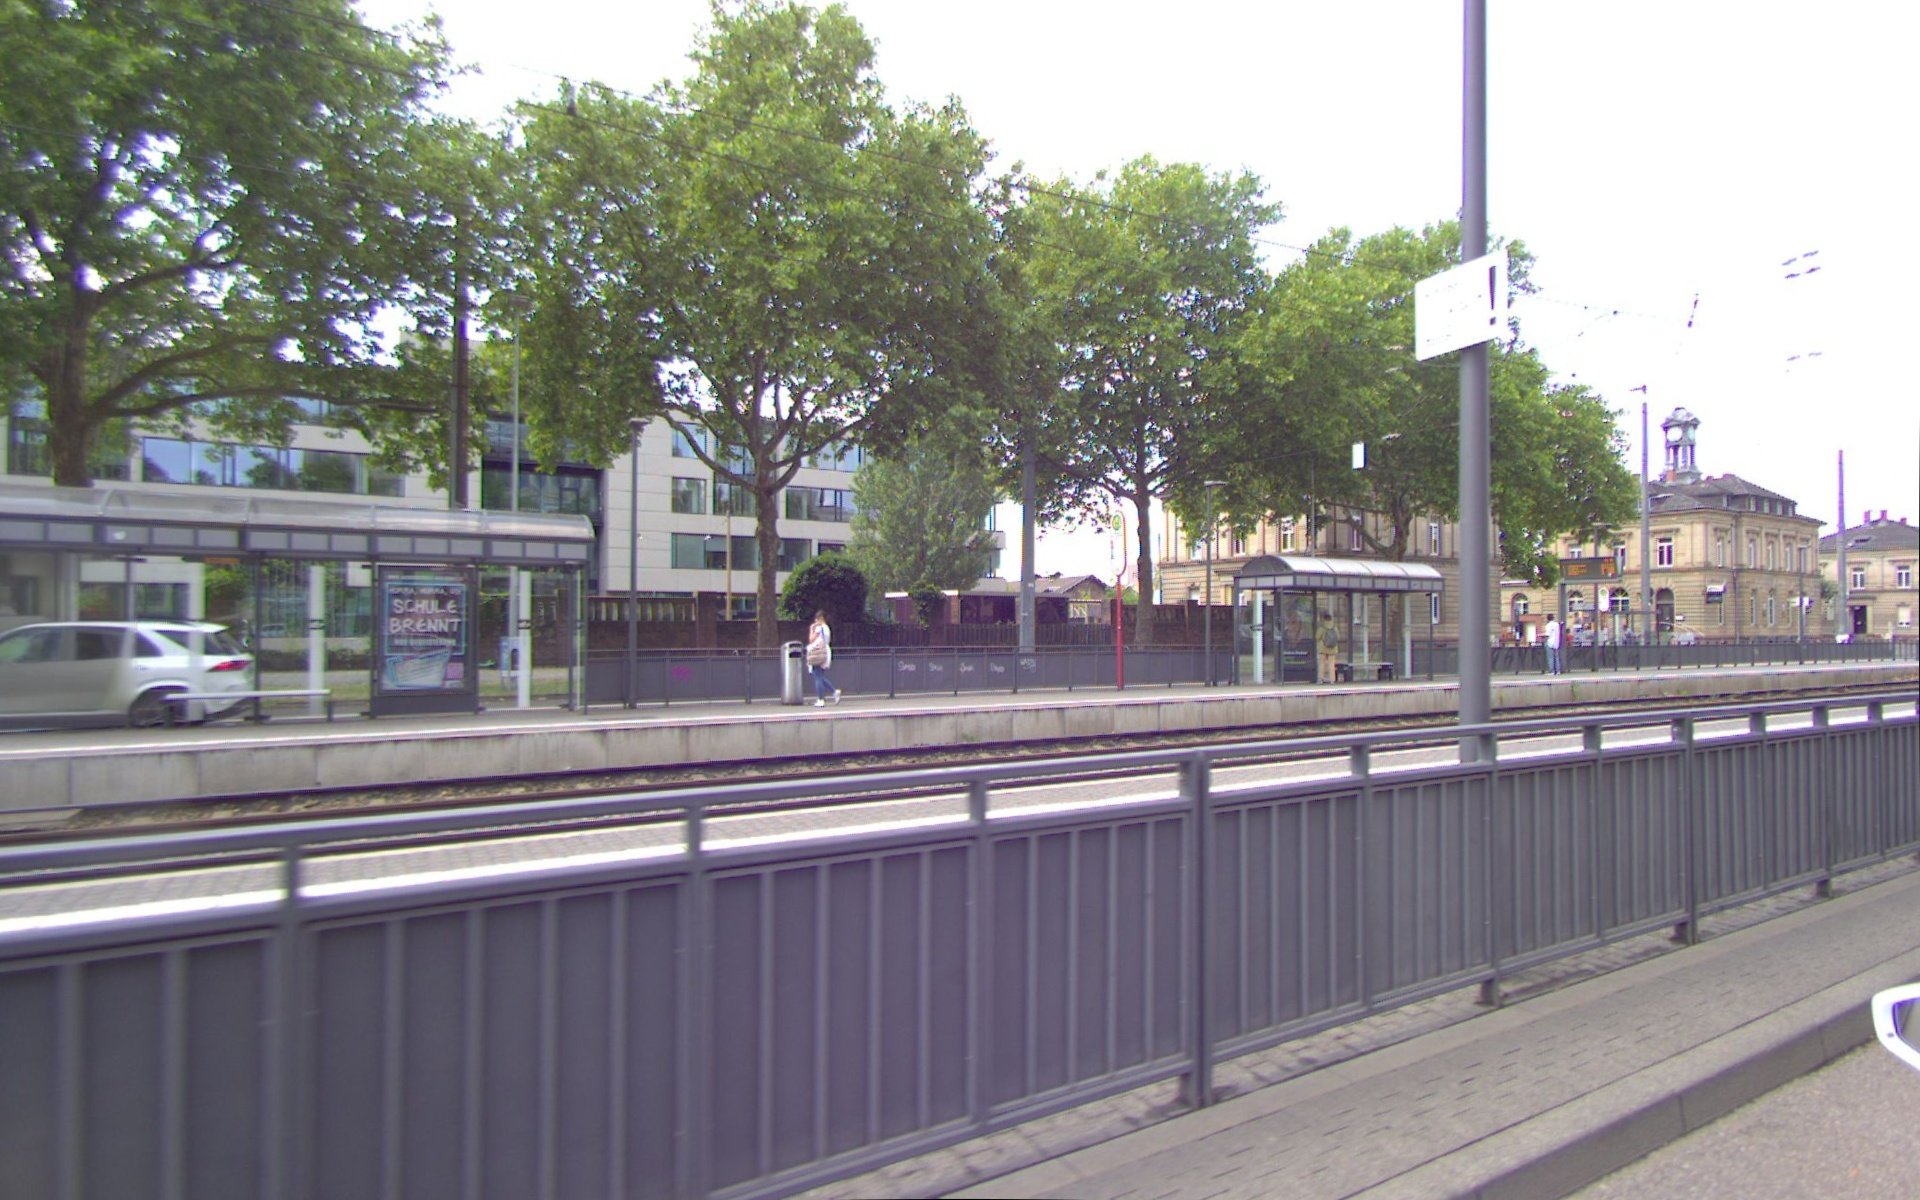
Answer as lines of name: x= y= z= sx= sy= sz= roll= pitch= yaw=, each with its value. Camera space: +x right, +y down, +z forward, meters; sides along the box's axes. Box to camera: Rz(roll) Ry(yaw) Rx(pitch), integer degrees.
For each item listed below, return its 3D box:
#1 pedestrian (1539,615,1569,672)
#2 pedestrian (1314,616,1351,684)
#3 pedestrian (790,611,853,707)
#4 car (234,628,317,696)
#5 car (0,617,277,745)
pedestrian: x=17.768 y=1.294 z=30.042 sx=0.635 sy=1.705 sz=0.498 roll=0 pitch=-1 yaw=-30
pedestrian: x=8.791 y=1.166 z=23.707 sx=0.635 sy=1.579 sz=0.498 roll=0 pitch=-1 yaw=-30
pedestrian: x=-2.277 y=0.957 z=16.517 sx=0.795 sy=1.532 sz=0.697 roll=0 pitch=-2 yaw=-34
car: x=-22.456 y=2.029 z=33.082 sx=1.937 sy=2.060 sz=4.118 roll=1 pitch=-3 yaw=-30
car: x=-13.029 y=1.131 z=14.784 sx=4.765 sy=1.727 sz=1.984 roll=1 pitch=-2 yaw=-31
